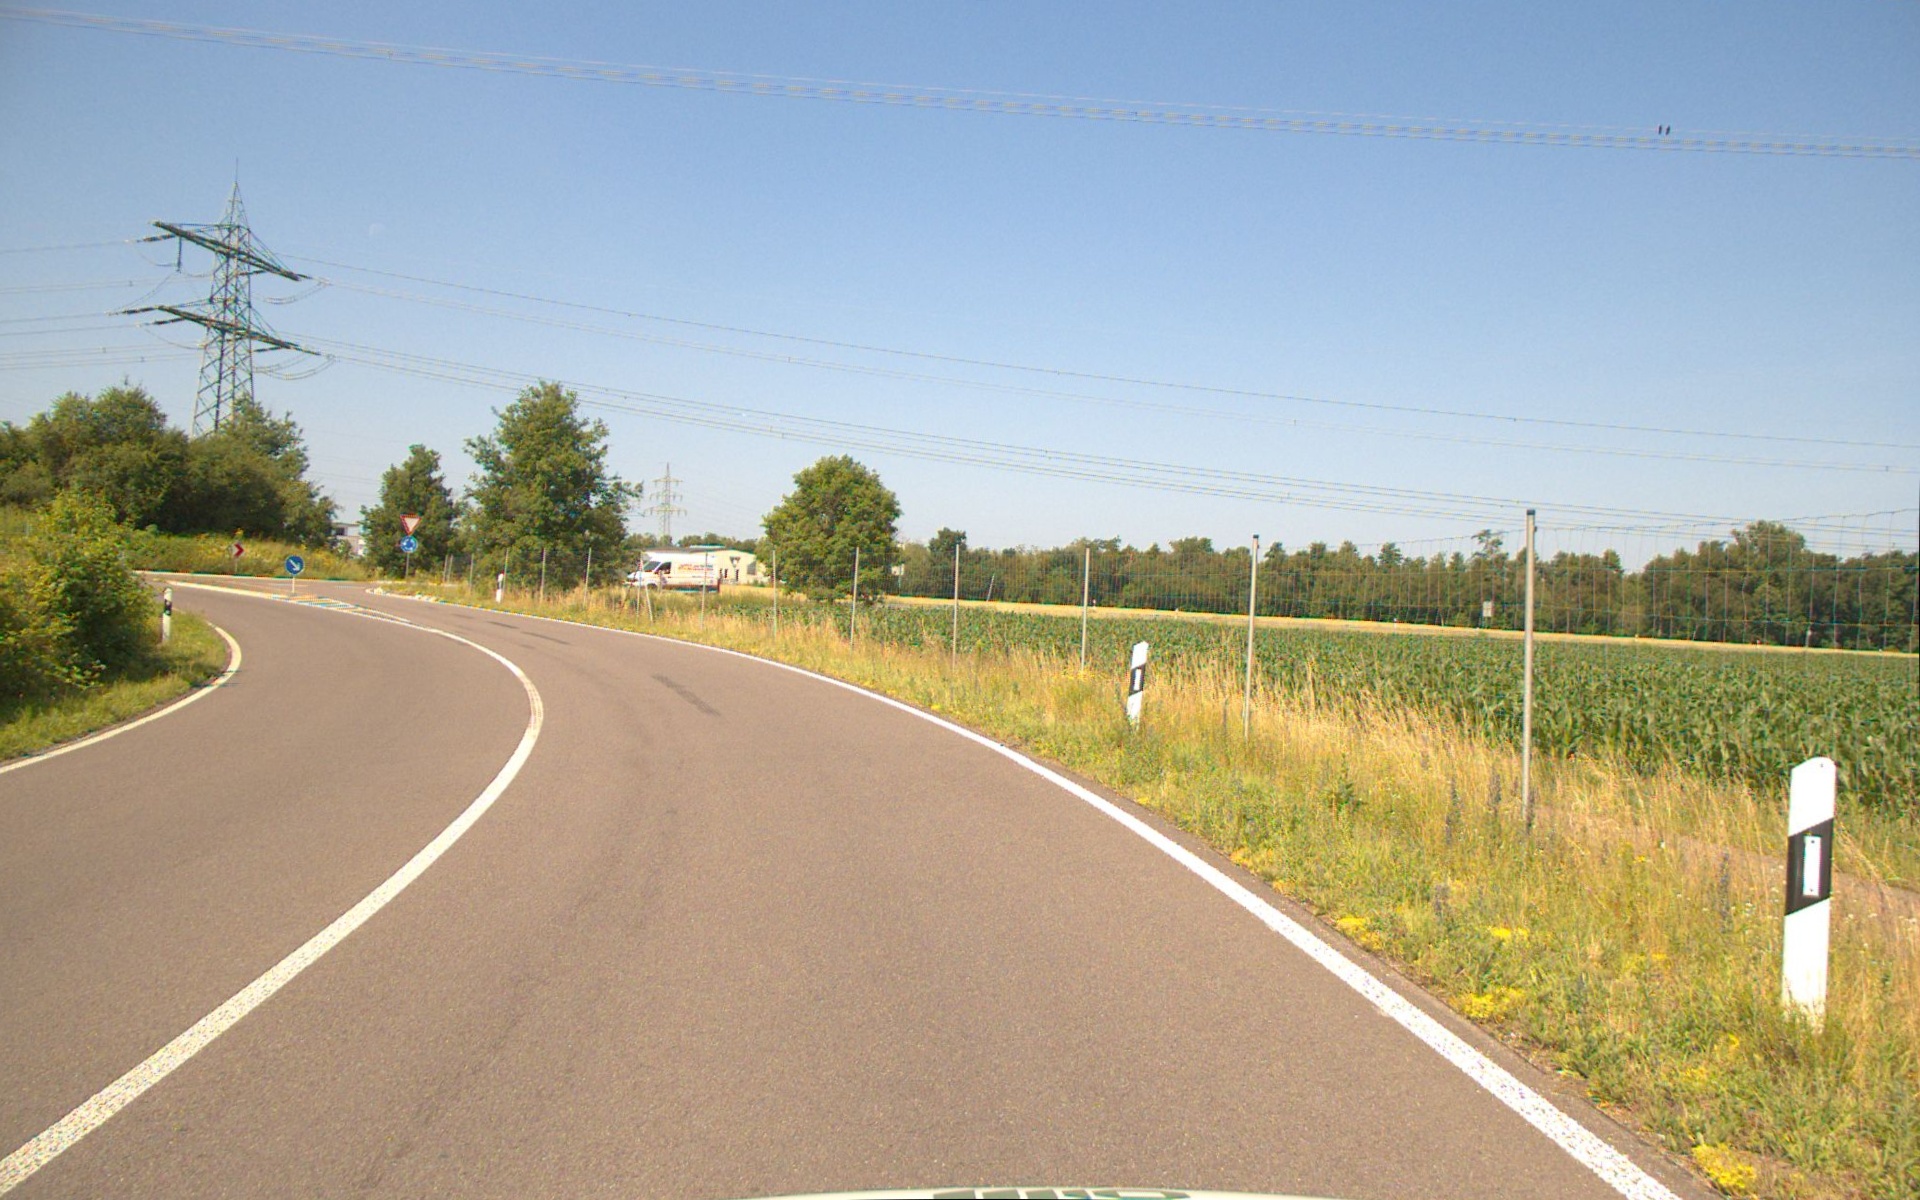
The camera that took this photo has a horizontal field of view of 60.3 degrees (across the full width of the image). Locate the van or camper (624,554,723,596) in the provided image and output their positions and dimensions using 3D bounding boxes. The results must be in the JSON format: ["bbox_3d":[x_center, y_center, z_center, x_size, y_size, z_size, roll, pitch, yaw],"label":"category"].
[{"bbox_3d":[-17.602,-1.553,101.744,5.706,2.306,1.974,2,0,-37],"label":"van or camper"}]
